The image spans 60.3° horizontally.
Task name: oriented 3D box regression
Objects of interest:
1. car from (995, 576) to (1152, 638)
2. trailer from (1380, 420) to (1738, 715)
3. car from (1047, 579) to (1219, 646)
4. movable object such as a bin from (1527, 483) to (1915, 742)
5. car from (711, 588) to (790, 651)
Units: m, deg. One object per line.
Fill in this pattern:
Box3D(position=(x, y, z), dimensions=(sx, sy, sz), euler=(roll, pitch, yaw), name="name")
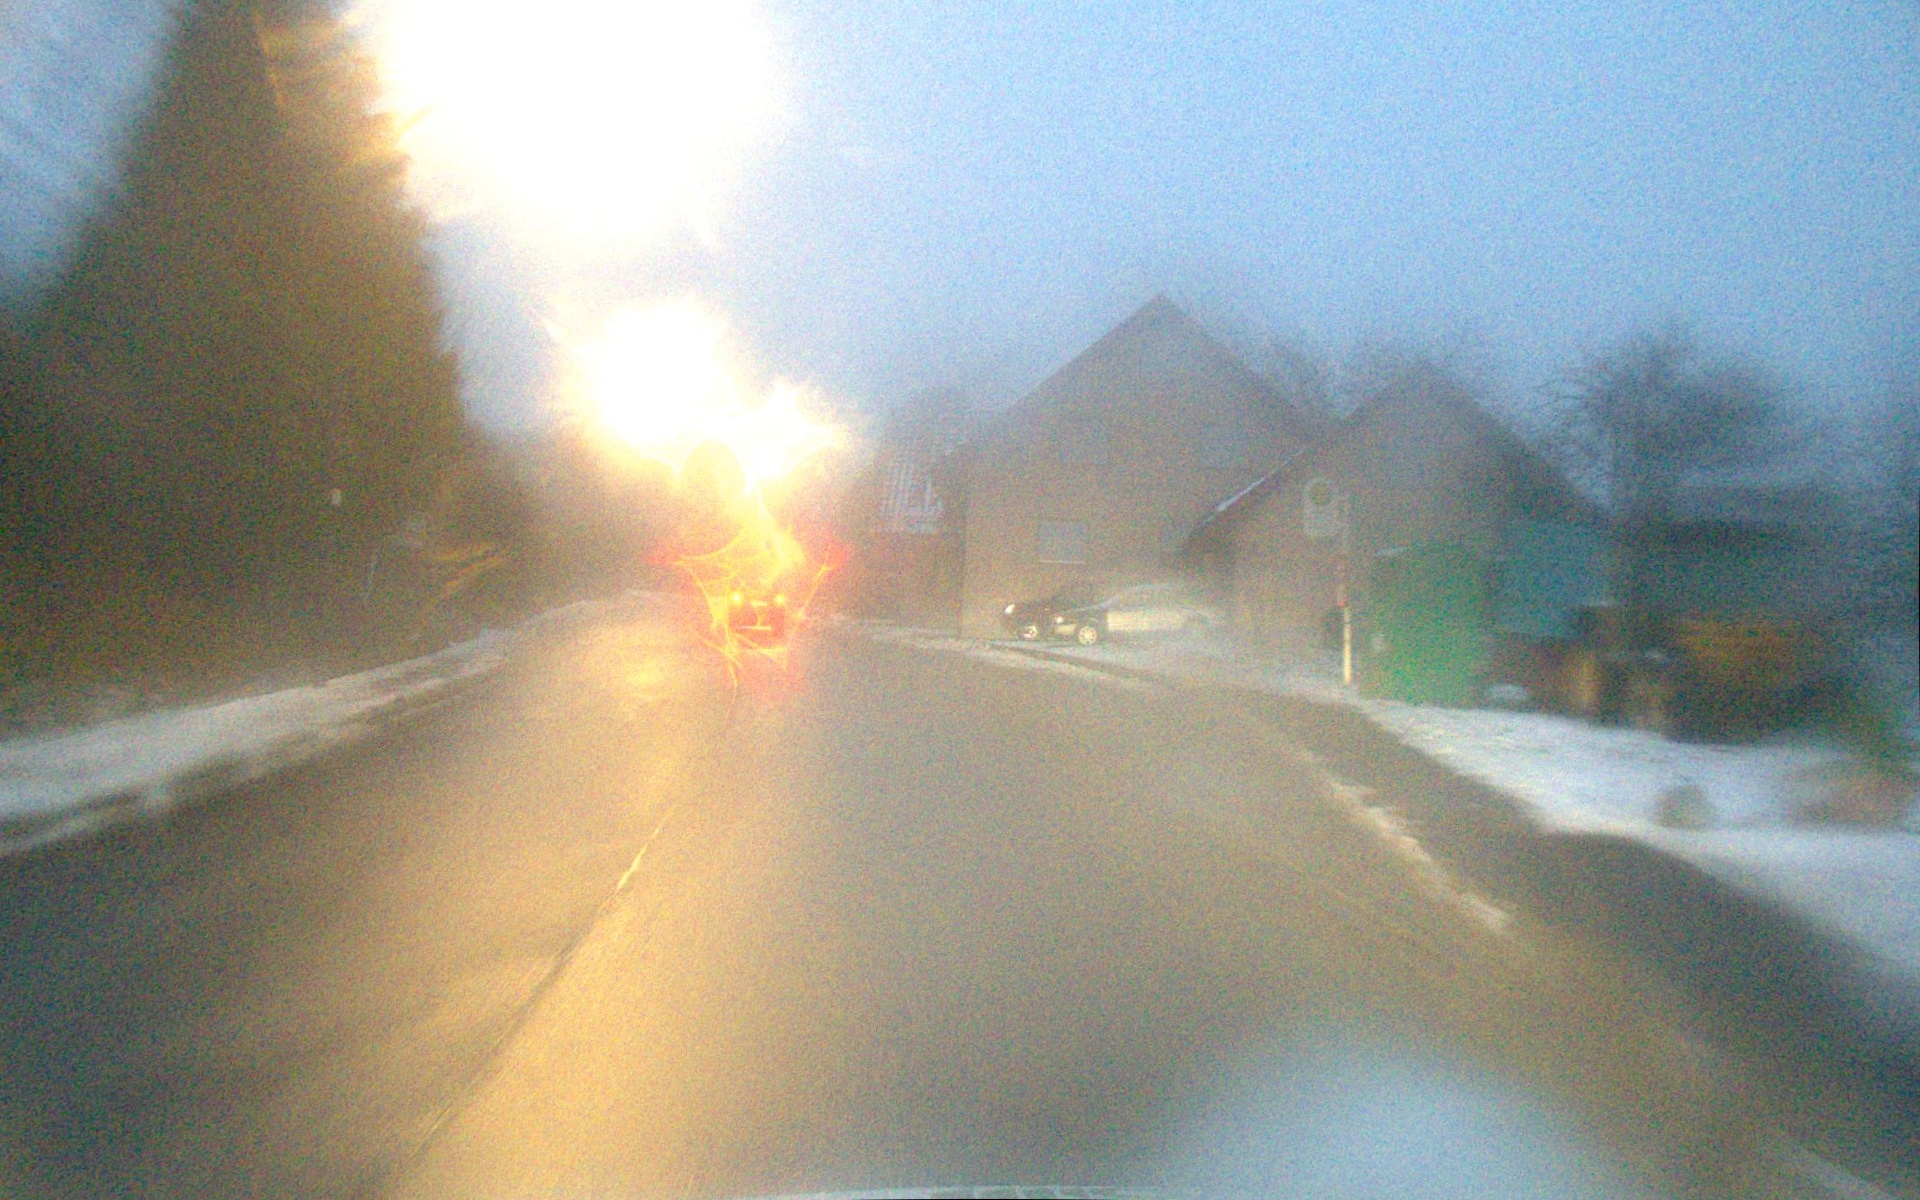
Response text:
Box3D(position=(2.991, 0.198, 44.272), dimensions=(4.073, 1.587, 1.945), euler=(0, -2, -1), name="car")
Box3D(position=(8.200, -0.379, 23.355), dimensions=(2.819, 3.623, 5.056), euler=(2, -1, -5), name="trailer")
Box3D(position=(4.276, 0.334, 41.251), dimensions=(4.153, 1.587, 2.001), euler=(0, -2, 4), name="car")
Box3D(position=(8.356, 0.151, 18.738), dimensions=(2.338, 2.512, 4.516), euler=(2, -1, 1), name="movable object such as a bin")
Box3D(position=(-6.359, 0.638, 49.922), dimensions=(1.959, 1.767, 3.865), euler=(1, -3, -13), name="car")
